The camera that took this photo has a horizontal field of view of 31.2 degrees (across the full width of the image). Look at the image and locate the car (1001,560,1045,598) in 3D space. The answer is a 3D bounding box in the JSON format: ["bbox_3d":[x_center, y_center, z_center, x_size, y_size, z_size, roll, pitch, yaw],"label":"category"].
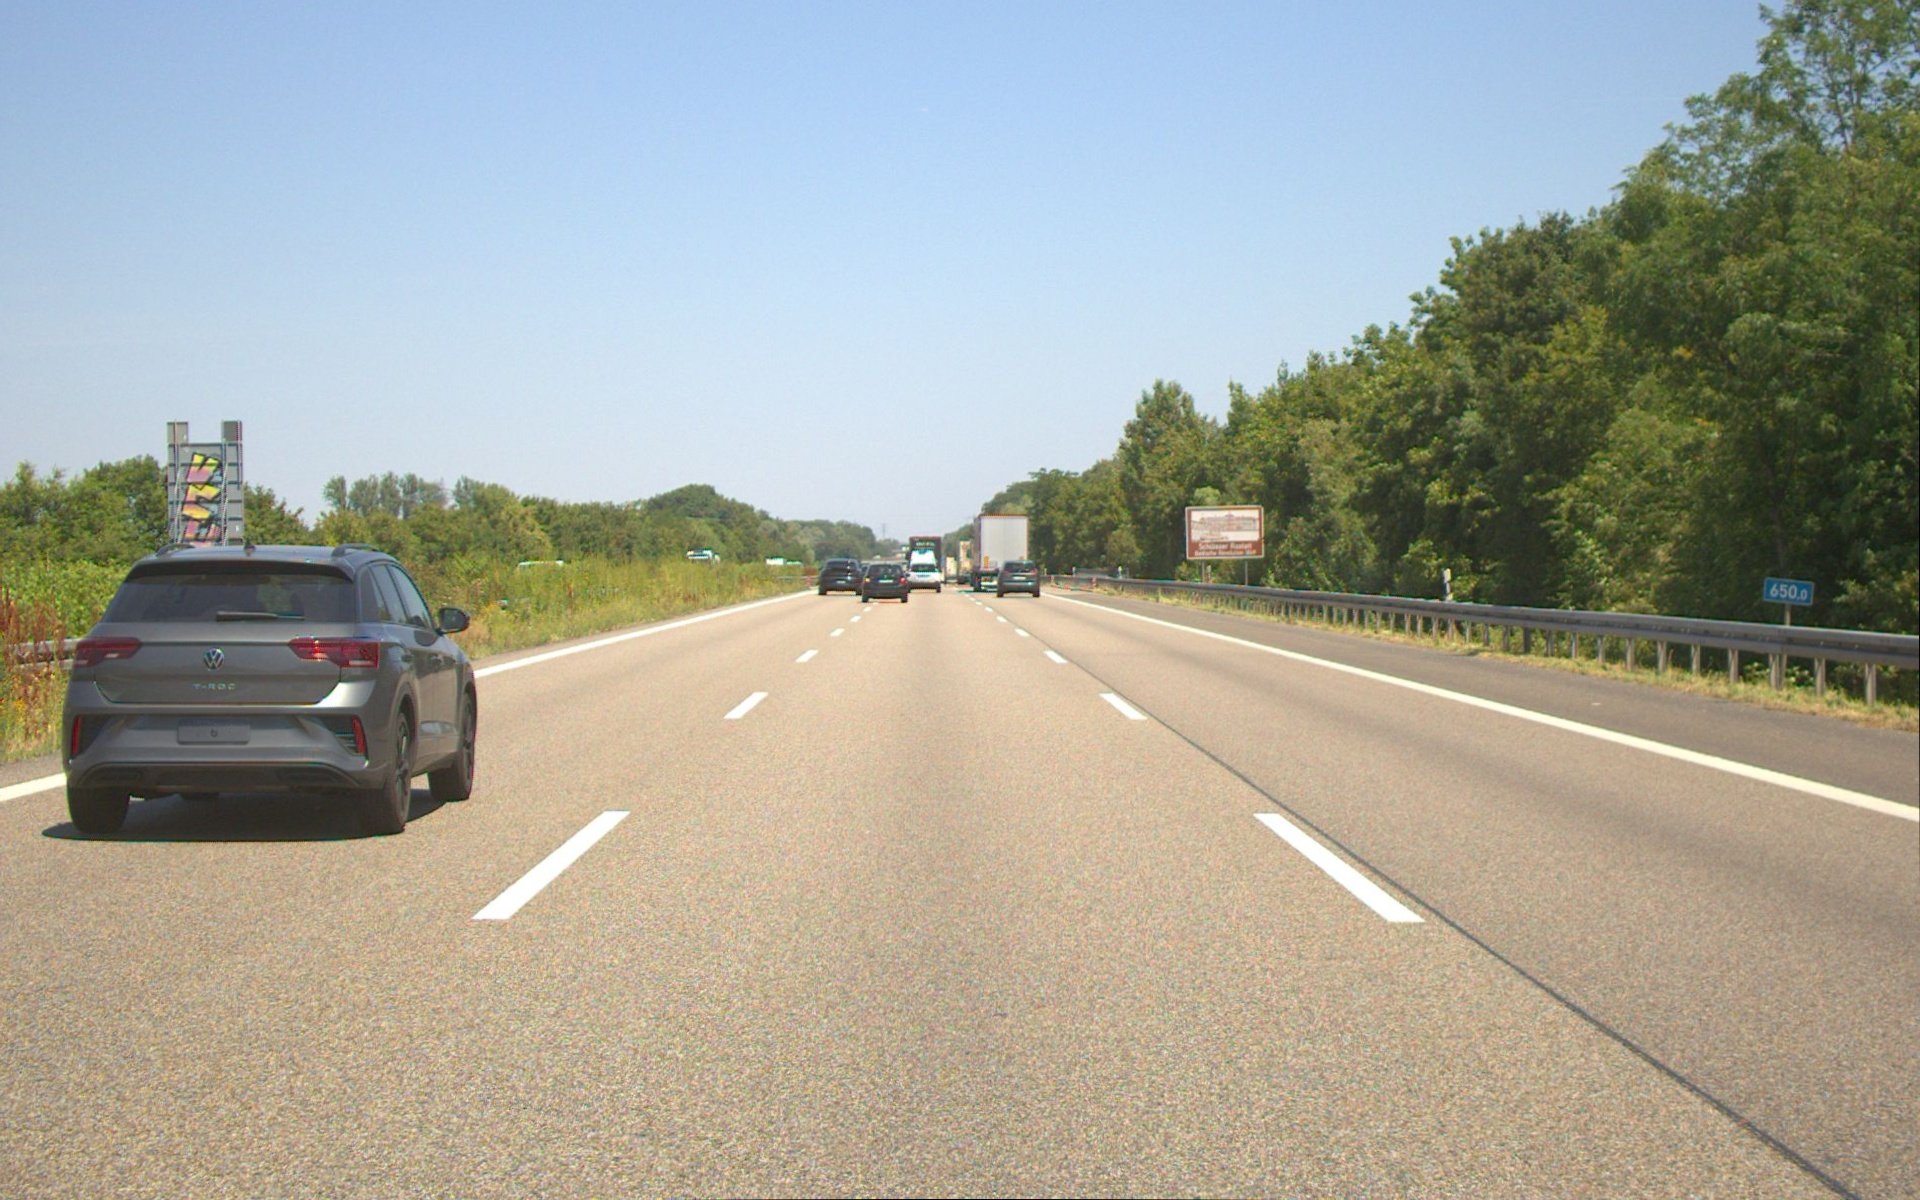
[{"bbox_3d":[2.742,-0.919,150.600,1.845,1.623,4.135,-1,0,0],"label":"car"}]

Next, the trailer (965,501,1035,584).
[{"bbox_3d":[2.073,-3.004,183.161,3.434,4.167,13.632,1,0,0],"label":"trailer"}]

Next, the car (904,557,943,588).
[{"bbox_3d":[-1.846,-1.413,174.031,1.900,1.526,4.084,1,1,-1],"label":"car"}]

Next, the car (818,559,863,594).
[{"bbox_3d":[-5.418,-1.070,156.388,1.907,1.526,4.285,1,1,-1],"label":"car"}]

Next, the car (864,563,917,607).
[{"bbox_3d":[-2.543,-0.564,126.681,1.900,1.526,4.084,1,1,-1],"label":"car"}]

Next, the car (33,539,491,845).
[{"bbox_3d":[-3.825,0.431,19.547,1.759,1.526,4.285,1,1,-1],"label":"car"}]
